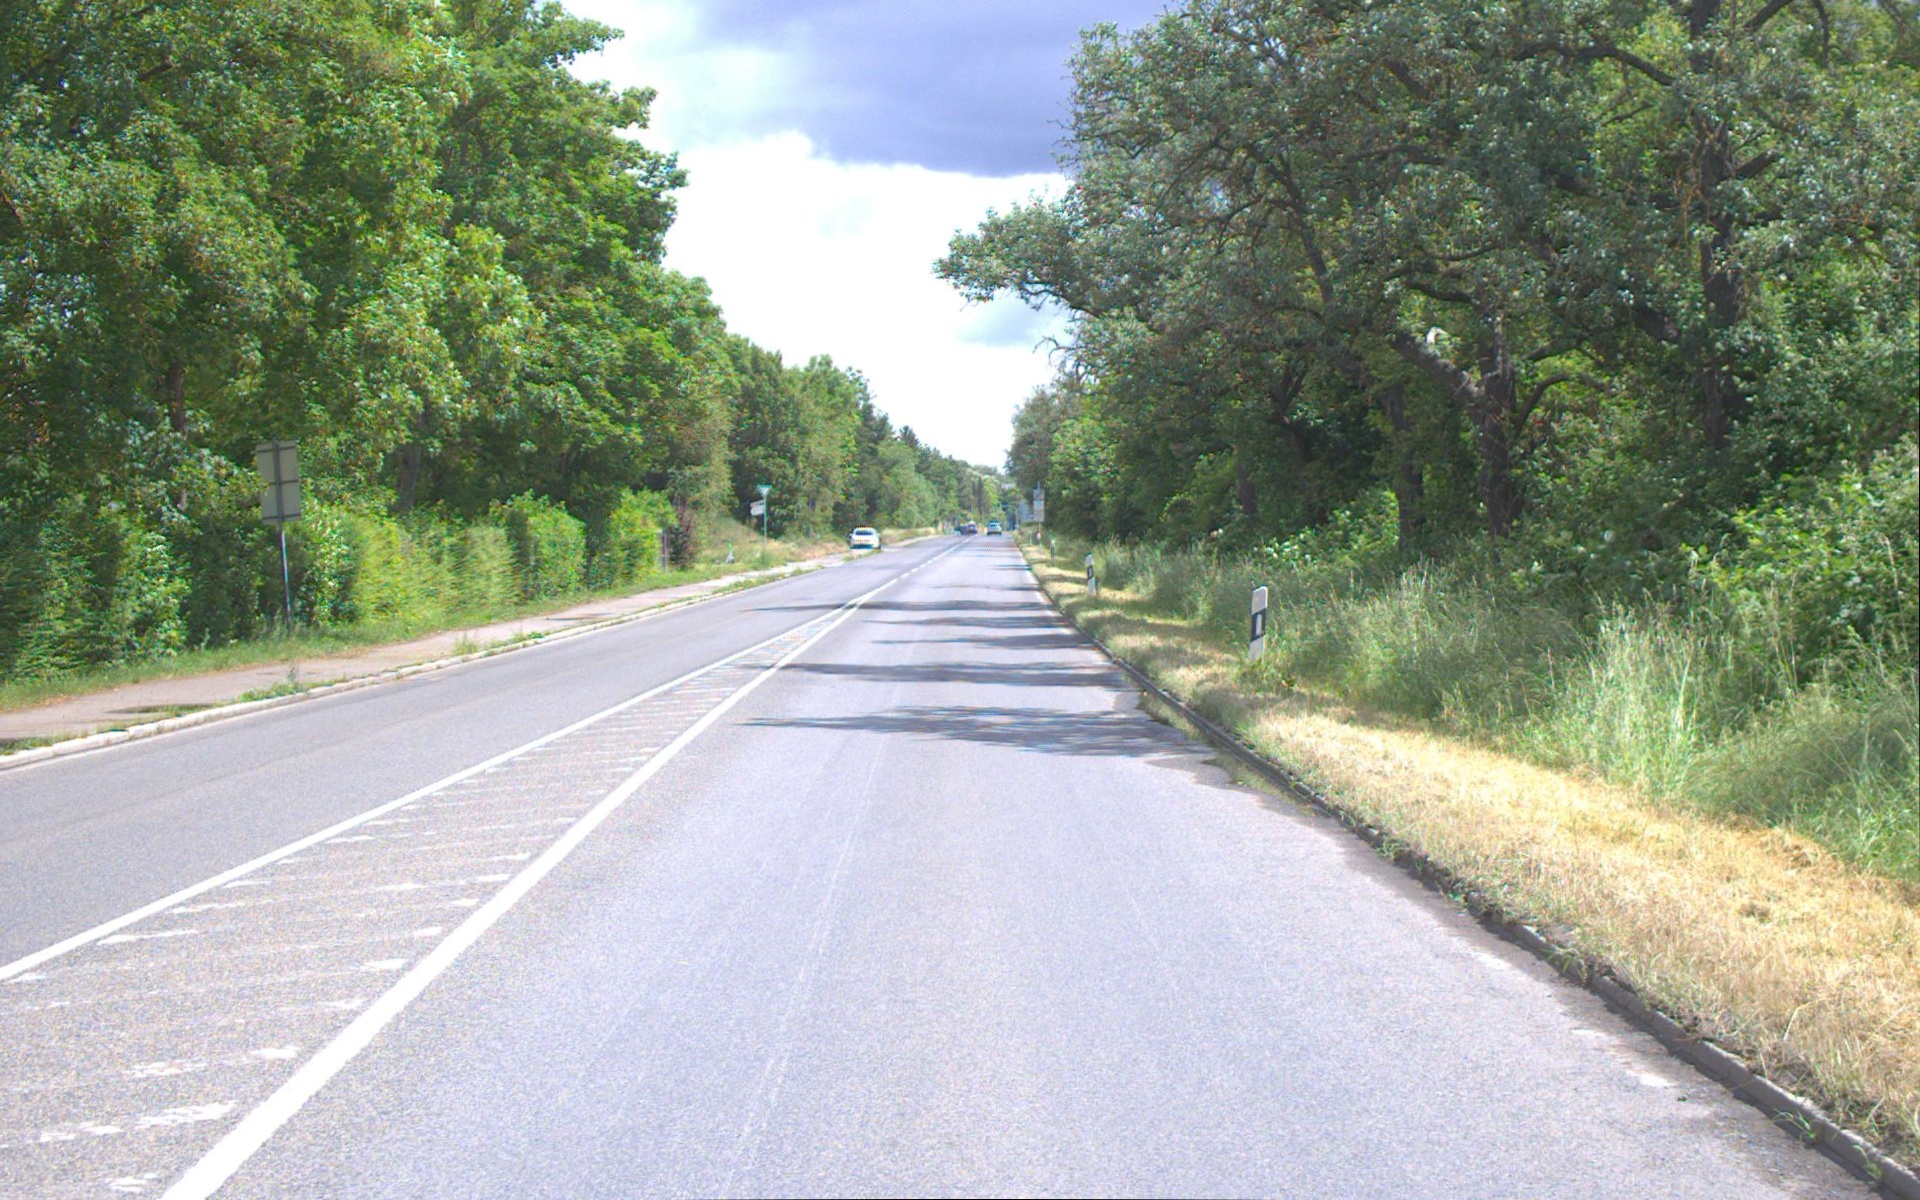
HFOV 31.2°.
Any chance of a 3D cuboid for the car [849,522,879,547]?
[{"bbox_3d":[-6.303,-4.294,226.093,1.798,1.538,3.955,-1,0,1],"label":"car"}]
